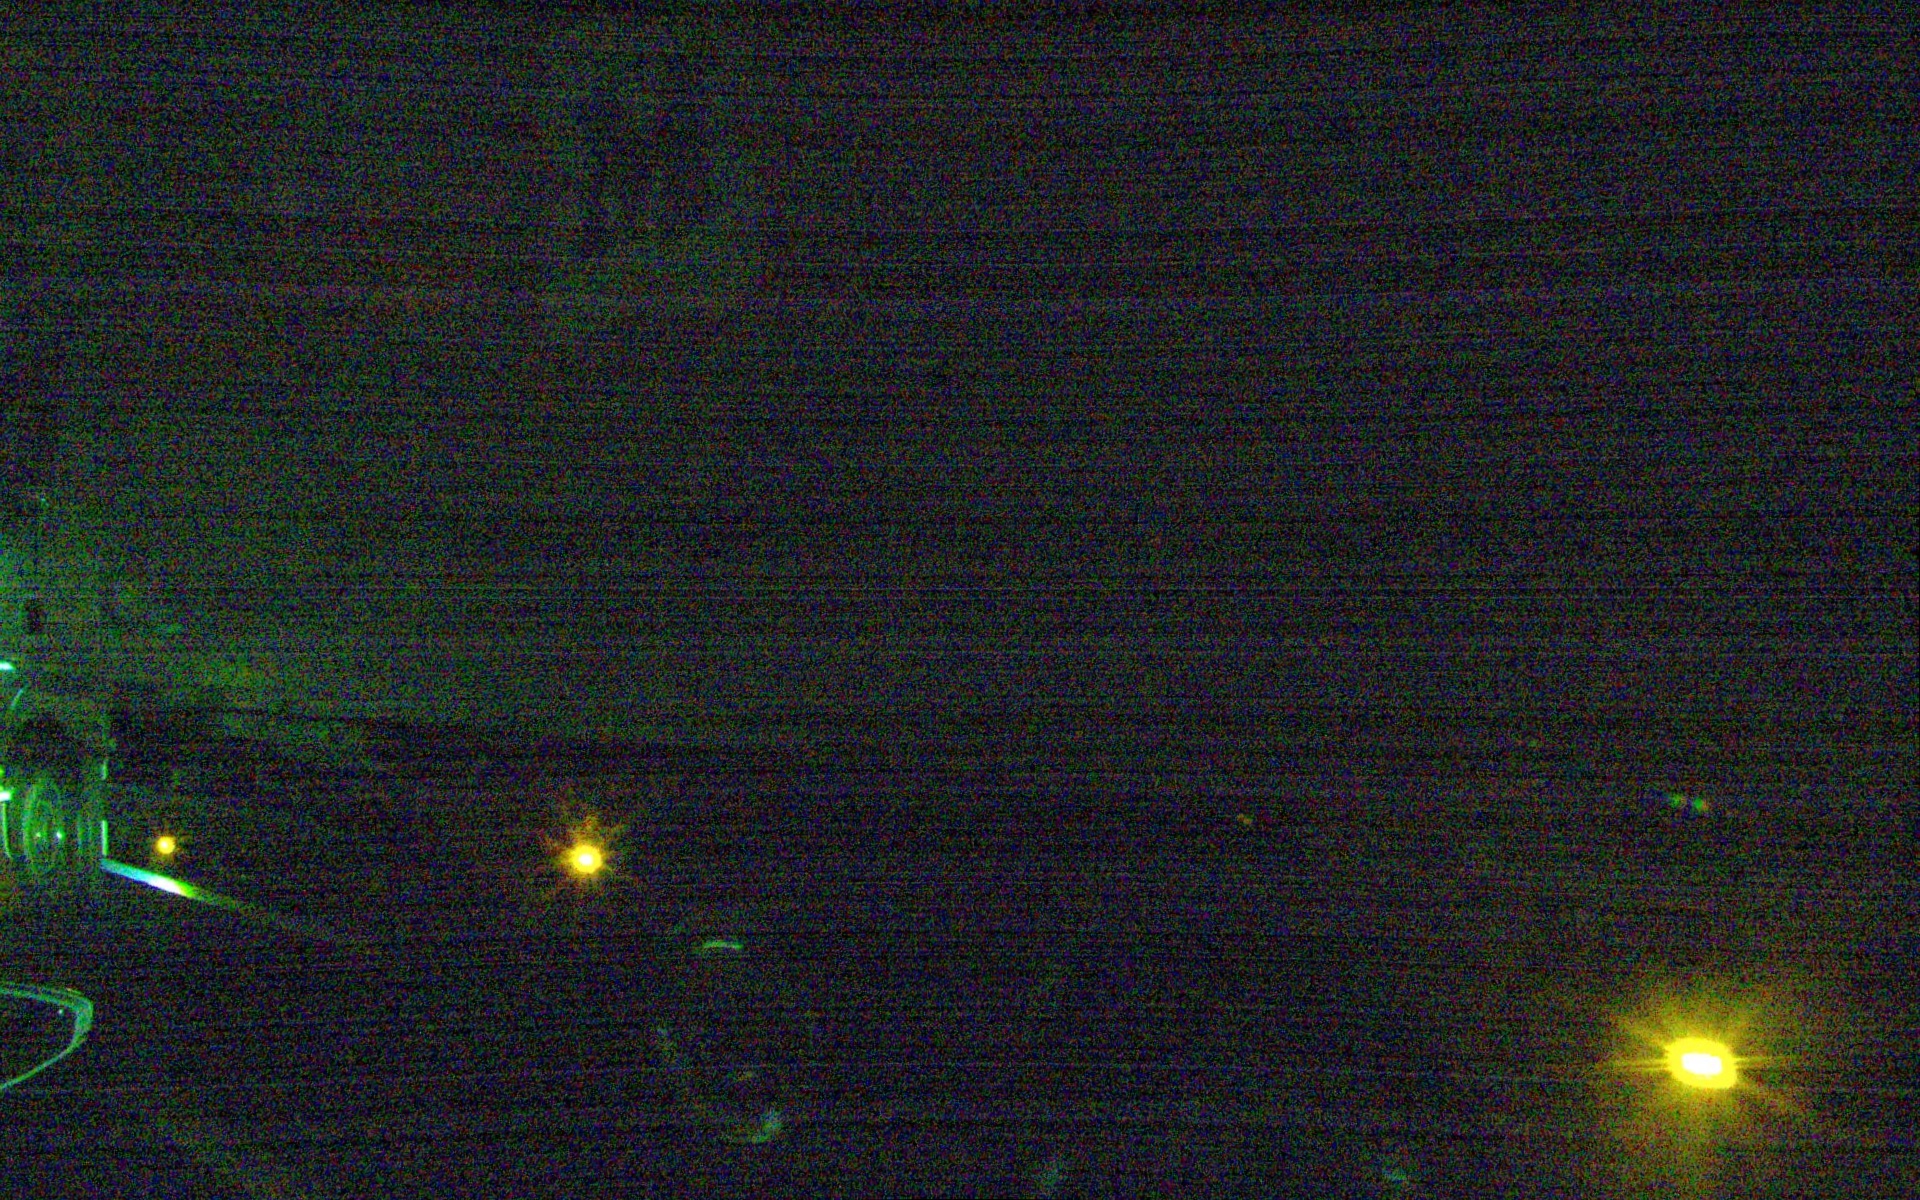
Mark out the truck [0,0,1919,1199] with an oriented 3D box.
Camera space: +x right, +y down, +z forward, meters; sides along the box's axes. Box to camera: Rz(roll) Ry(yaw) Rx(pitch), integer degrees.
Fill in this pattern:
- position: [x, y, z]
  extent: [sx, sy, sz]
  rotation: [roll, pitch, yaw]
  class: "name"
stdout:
- position: [-0.998, -0.452, 4.174]
  extent: [9.765, 3.964, 2.884]
  rotation: [-1, -1, 32]
  class: "truck"
